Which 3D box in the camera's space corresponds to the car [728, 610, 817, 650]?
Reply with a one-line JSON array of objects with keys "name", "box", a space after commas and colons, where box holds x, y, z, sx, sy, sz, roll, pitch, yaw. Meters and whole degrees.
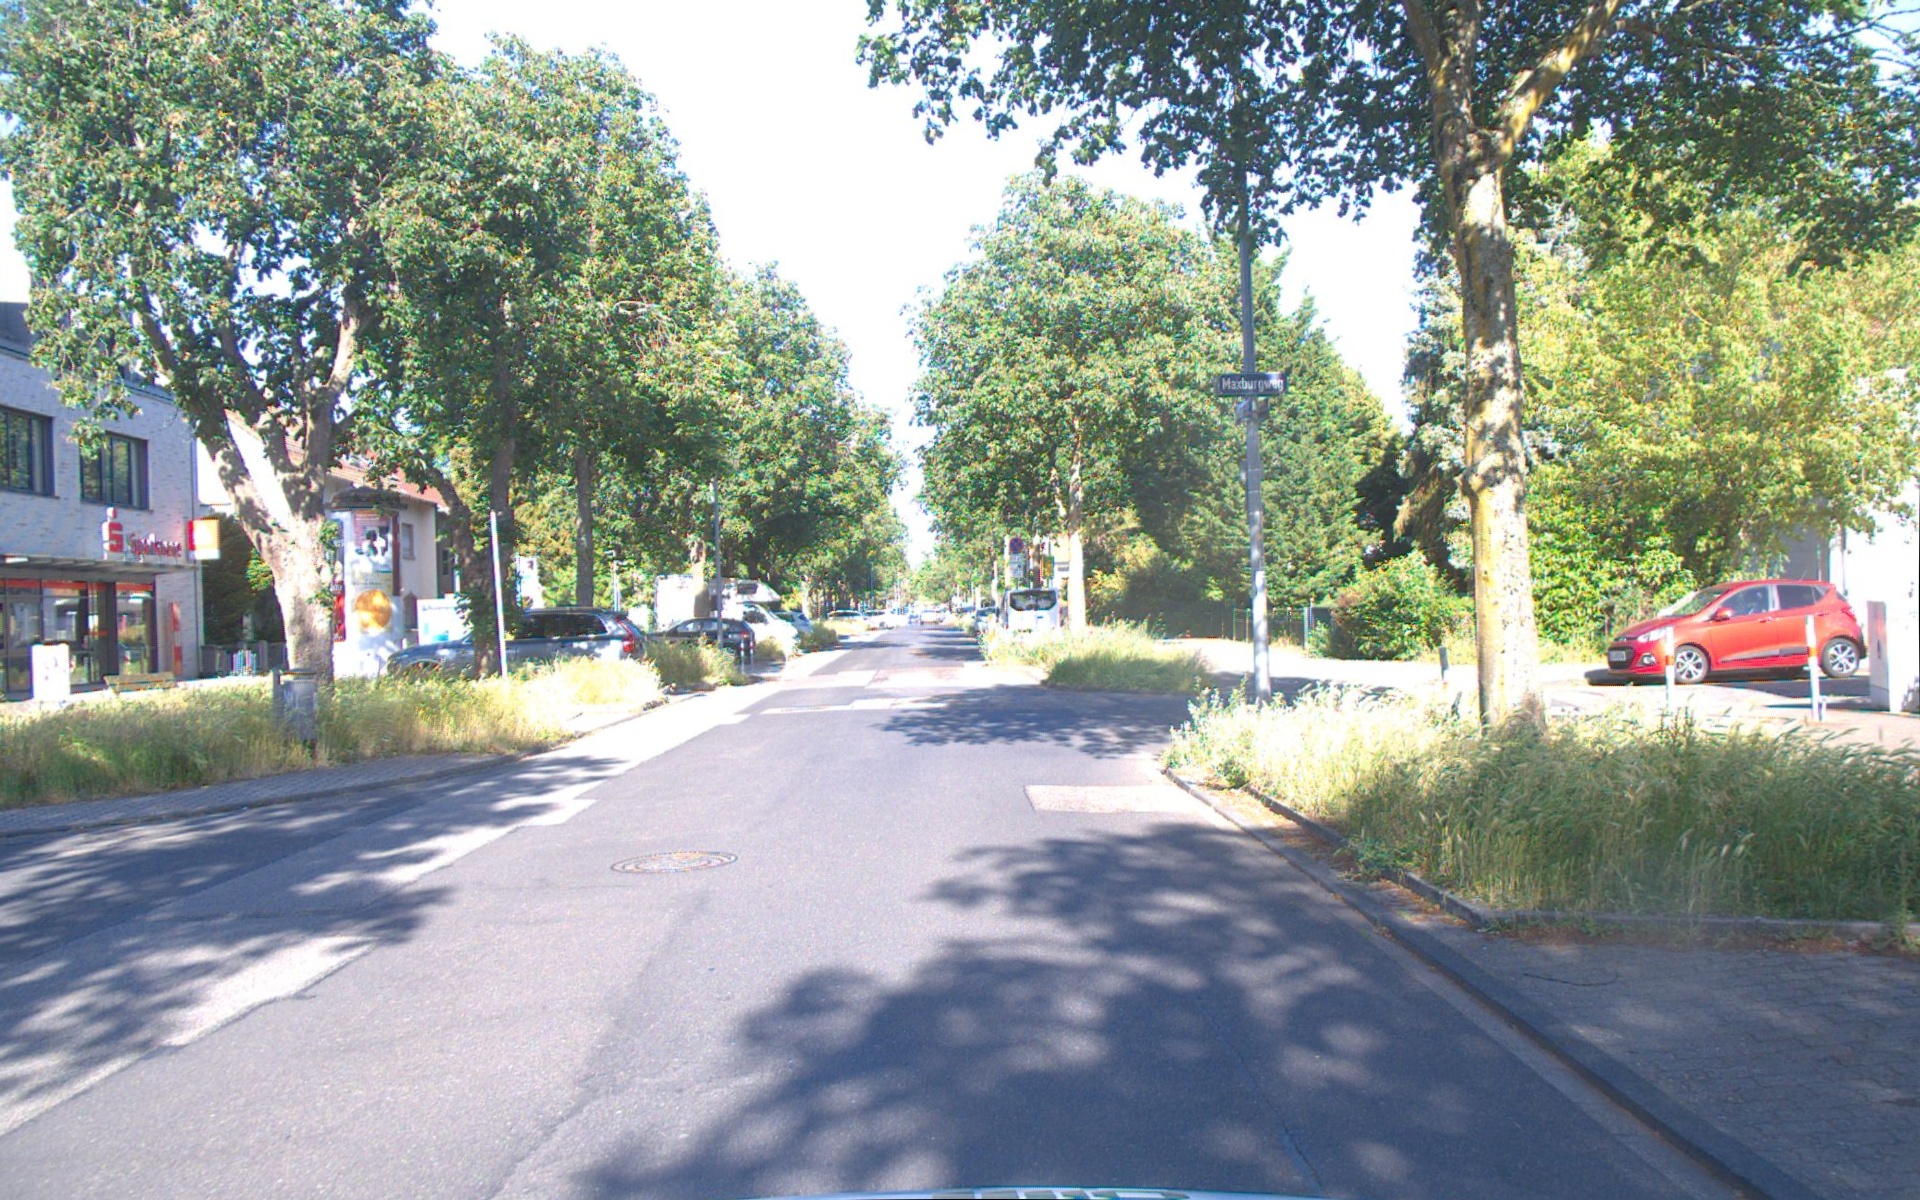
[{"name": "car", "box": [-8.610, 1.366, 76.232, 3.907, 1.690, 1.966, -1, 0, -2]}]

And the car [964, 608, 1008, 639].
[{"name": "car", "box": [1.435, 1.255, 88.368, 1.951, 1.537, 4.002, -3, -1, 6]}]

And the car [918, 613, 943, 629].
[{"name": "car", "box": [-2.847, 2.005, 157.643, 1.956, 1.534, 3.652, 1, -1, -7]}]

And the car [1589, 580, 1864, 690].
[{"name": "car", "box": [11.697, 0.502, 25.354, 3.471, 1.537, 1.638, -1, 1, -5]}]

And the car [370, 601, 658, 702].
[{"name": "car", "box": [-8.412, 0.966, 31.590, 4.962, 1.758, 1.998, 1, -1, -5]}]

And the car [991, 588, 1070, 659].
[{"name": "car", "box": [2.109, 0.731, 50.897, 1.953, 2.049, 5.193, 1, -1, -2]}]

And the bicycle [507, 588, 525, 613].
[{"name": "bicycle", "box": [-21.725, 0.046, 80.853, 0.693, 1.197, 4.036, -2, 0, -17]}]

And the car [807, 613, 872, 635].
[{"name": "car", "box": [-8.919, 1.770, 122.492, 4.575, 1.530, 2.000, -1, -1, 0]}]

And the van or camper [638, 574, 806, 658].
[{"name": "van or camper", "box": [-8.524, 0.579, 59.511, 5.657, 2.854, 2.000, 1, -1, 1]}]

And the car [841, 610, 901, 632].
[{"name": "car", "box": [-6.660, 1.566, 124.398, 4.121, 1.480, 2.002, -2, -1, 10]}]

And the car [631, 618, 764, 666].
[{"name": "car", "box": [-8.324, 1.326, 52.684, 3.904, 1.475, 1.640, 0, -1, 2]}]
